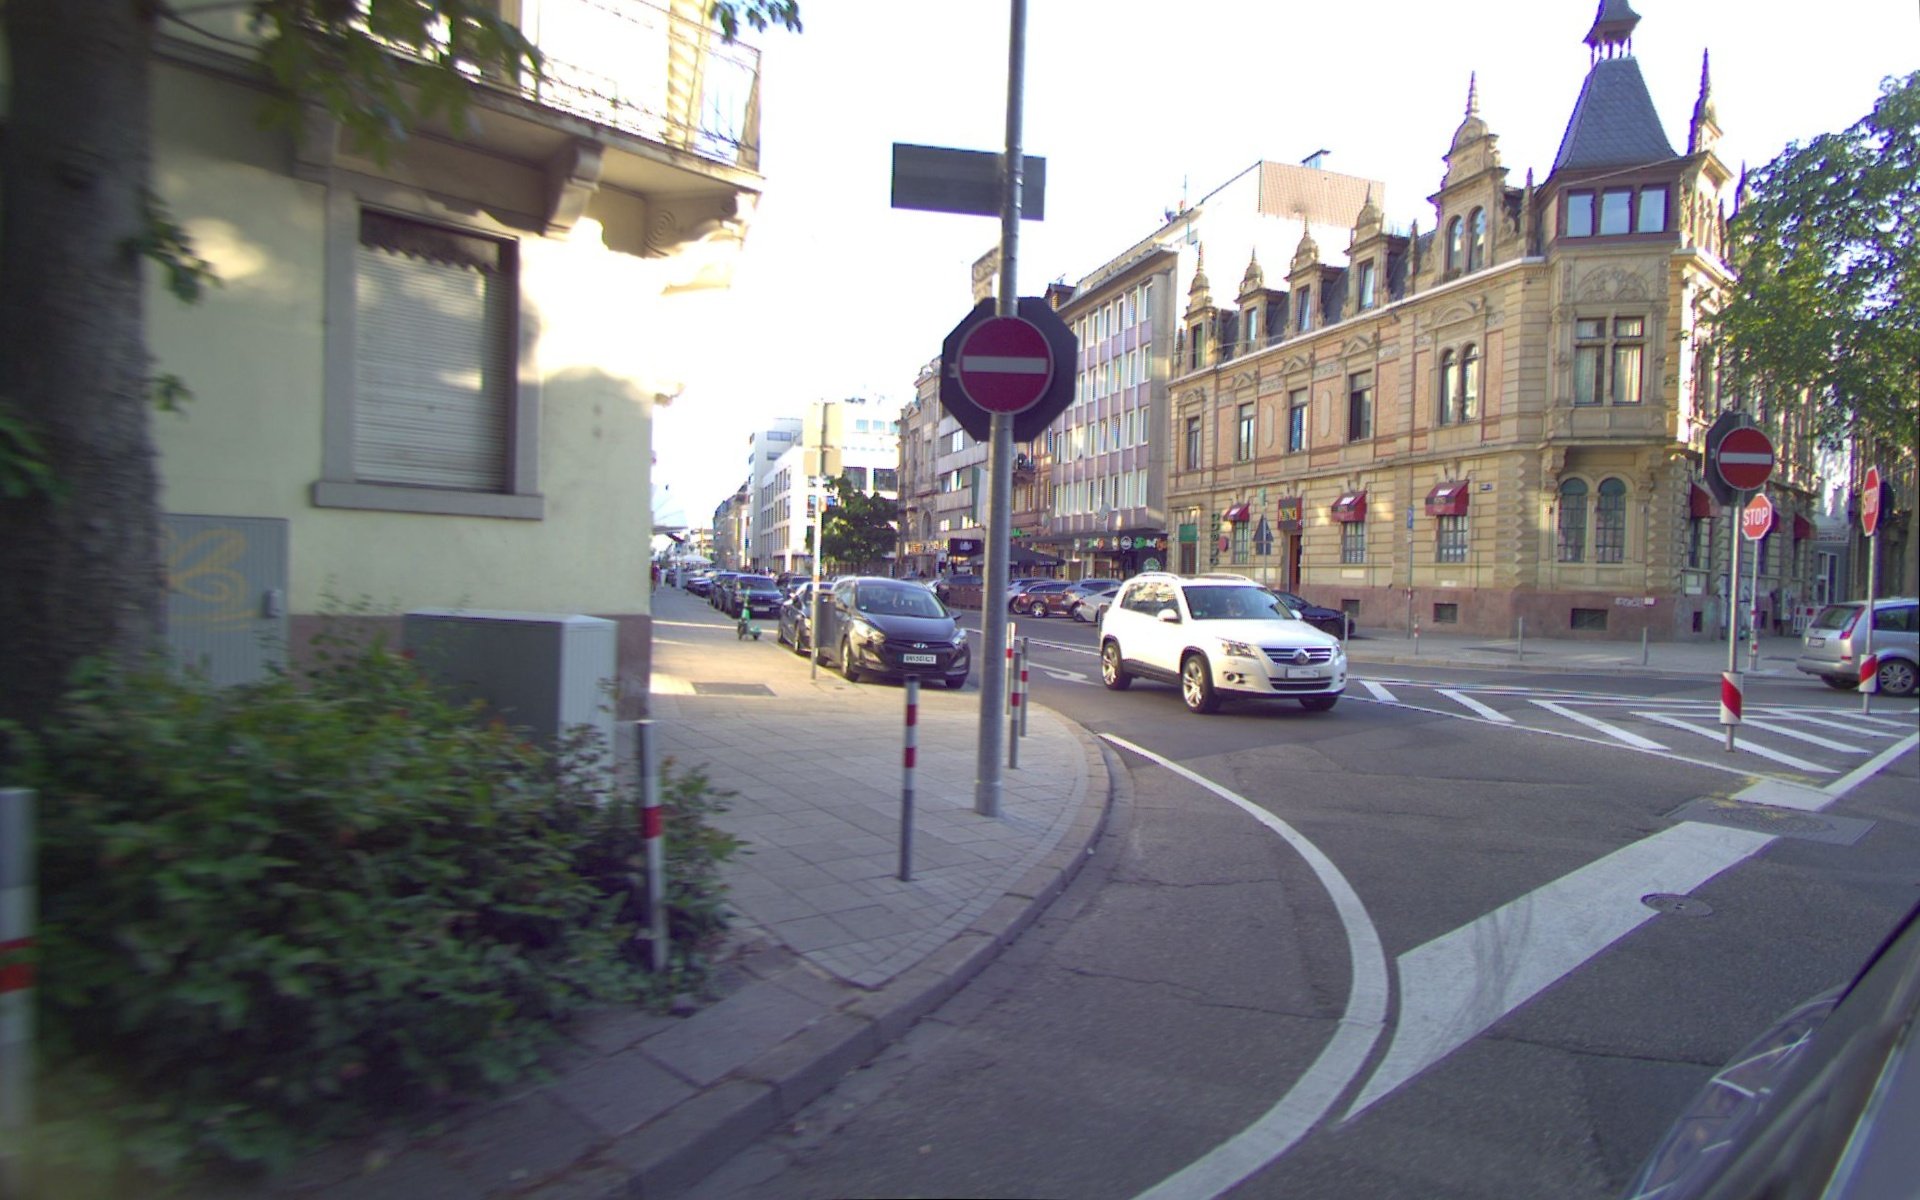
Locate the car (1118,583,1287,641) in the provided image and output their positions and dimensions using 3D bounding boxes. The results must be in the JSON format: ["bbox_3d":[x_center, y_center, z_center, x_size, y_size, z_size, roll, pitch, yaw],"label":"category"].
[{"bbox_3d":[7.520,0.343,31.655,4.916,1.475,1.980,3,1,13],"label":"car"}]

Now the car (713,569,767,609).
[{"bbox_3d":[-8.638,-0.471,39.541,1.738,1.386,4.194,2,2,-16],"label":"car"}]

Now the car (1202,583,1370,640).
[{"bbox_3d":[9.075,0.304,28.462,4.207,1.430,1.709,-2,1,8],"label":"car"}]

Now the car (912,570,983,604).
[{"bbox_3d":[-0.733,-0.712,56.926,3.782,1.812,2.002,1,1,-5],"label":"car"}]

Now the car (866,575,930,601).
[{"bbox_3d":[-4.320,-0.825,70.294,4.051,1.580,1.784,2,1,-17],"label":"car"}]

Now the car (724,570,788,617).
[{"bbox_3d":[-6.930,-0.261,34.127,1.738,1.386,4.194,2,2,-16],"label":"car"}]

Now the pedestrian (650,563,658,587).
[{"bbox_3d":[-22.456,-1.819,74.239,0.418,1.727,0.499,3,0,-28],"label":"pedestrian"}]

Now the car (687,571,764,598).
[{"bbox_3d":[-13.191,-0.870,57.045,1.764,1.386,4.132,3,2,34],"label":"car"}]

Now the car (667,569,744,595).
[{"bbox_3d":[-14.989,-1.042,59.740,1.770,1.386,4.118,4,2,43],"label":"car"}]

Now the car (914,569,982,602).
[{"bbox_3d":[-0.726,-0.866,59.512,3.782,1.812,2.002,1,1,-5],"label":"car"}]

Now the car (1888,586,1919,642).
[{"bbox_3d":[35.519,0.612,35.206,1.916,1.938,4.549,1,2,-42],"label":"car"}]

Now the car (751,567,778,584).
[{"bbox_3d":[-17.088,-2.126,88.266,1.707,1.389,4.009,1,1,-20],"label":"car"}]

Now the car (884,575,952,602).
[{"bbox_3d":[-2.728,-0.748,65.895,4.051,1.580,1.784,2,1,-17],"label":"car"}]

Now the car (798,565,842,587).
[{"bbox_3d":[-13.463,-2.305,97.284,3.915,2.039,1.876,2,1,-16],"label":"car"}]

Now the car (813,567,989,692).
[{"bbox_3d":[-1.058,0.328,15.284,1.828,1.562,4.434,2,1,-14],"label":"car"}]

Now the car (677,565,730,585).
[{"bbox_3d":[-20.624,-1.989,81.456,3.916,1.482,1.764,2,1,-22],"label":"car"}]

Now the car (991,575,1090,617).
[{"bbox_3d":[3.498,-0.191,44.635,4.056,1.580,1.782,3,1,-4],"label":"car"}]

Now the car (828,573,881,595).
[{"bbox_3d":[-8.850,-1.363,84.901,4.051,1.580,1.784,2,1,-17],"label":"car"}]

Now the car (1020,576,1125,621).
[{"bbox_3d":[4.596,-0.084,41.219,4.073,1.559,1.774,3,1,11],"label":"car"}]

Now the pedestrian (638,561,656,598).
[{"bbox_3d":[-17.960,-1.177,58.061,0.891,2.039,1.104,1,1,-17],"label":"pedestrian"}]

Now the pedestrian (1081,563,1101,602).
[{"bbox_3d":[6.085,-0.833,47.112,0.621,1.785,0.737,2,1,-18],"label":"pedestrian"}]

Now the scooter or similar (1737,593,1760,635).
[{"bbox_3d":[23.043,0.409,29.570,1.072,1.209,0.251,2,1,-39],"label":"scooter or similar"}]

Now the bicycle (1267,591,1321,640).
[{"bbox_3d":[8.451,0.366,25.680,0.813,1.148,1.832,1,2,2],"label":"bicycle"}]

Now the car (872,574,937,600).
[{"bbox_3d":[-3.769,-0.889,68.437,4.051,1.580,1.784,2,1,-17],"label":"car"}]

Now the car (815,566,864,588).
[{"bbox_3d":[-10.745,-2.027,90.202,3.915,1.838,1.862,2,1,-19],"label":"car"}]

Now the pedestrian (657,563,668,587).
[{"bbox_3d":[-21.851,-1.813,74.328,0.588,1.727,0.499,3,0,-28],"label":"pedestrian"}]

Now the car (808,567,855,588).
[{"bbox_3d":[-11.883,-2.094,93.551,3.915,1.838,1.862,2,1,-19],"label":"car"}]

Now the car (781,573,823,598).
[{"bbox_3d":[-9.393,-0.861,60.009,1.707,1.389,4.009,1,1,-20],"label":"car"}]

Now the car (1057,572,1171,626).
[{"bbox_3d":[5.781,-0.065,37.964,4.073,1.747,1.774,3,1,11],"label":"car"}]

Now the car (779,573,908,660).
[{"bbox_3d":[-2.440,0.249,20.148,1.738,1.386,4.528,5,1,-16],"label":"car"}]

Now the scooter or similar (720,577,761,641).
[{"bbox_3d":[-4.317,0.161,19.962,0.378,1.218,1.189,2,1,7],"label":"scooter or similar"}]

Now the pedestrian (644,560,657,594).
[{"bbox_3d":[-14.841,-1.113,48.519,0.484,1.583,0.486,2,1,-27],"label":"pedestrian"}]

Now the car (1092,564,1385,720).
[{"bbox_3d":[3.360,0.374,13.171,1.856,1.676,4.214,-1,2,-14],"label":"car"}]

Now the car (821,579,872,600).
[{"bbox_3d":[-9.747,-0.939,87.112,4.051,1.580,1.784,2,1,-17],"label":"car"}]

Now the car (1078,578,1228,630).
[{"bbox_3d":[6.631,0.140,34.937,4.899,1.476,1.869,3,0,12],"label":"car"}]

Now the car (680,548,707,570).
[{"bbox_3d":[-27.388,-4.192,104.011,2.306,2.039,4.550,1,1,-19],"label":"car"}]

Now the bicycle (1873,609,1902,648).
[{"bbox_3d":[30.787,0.943,33.594,1.694,1.250,0.386,1,2,-38],"label":"bicycle"}]

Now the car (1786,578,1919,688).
[{"bbox_3d":[16.310,0.571,16.203,4.297,1.674,1.874,3,1,19],"label":"car"}]

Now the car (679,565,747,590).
[{"bbox_3d":[-16.792,-1.511,68.825,4.102,1.543,1.776,1,2,-34],"label":"car"}]

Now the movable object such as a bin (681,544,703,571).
[{"bbox_3d":[-32.057,-5.037,120.797,2.305,2.992,5.586,1,1,-17],"label":"movable object such as a bin"}]
